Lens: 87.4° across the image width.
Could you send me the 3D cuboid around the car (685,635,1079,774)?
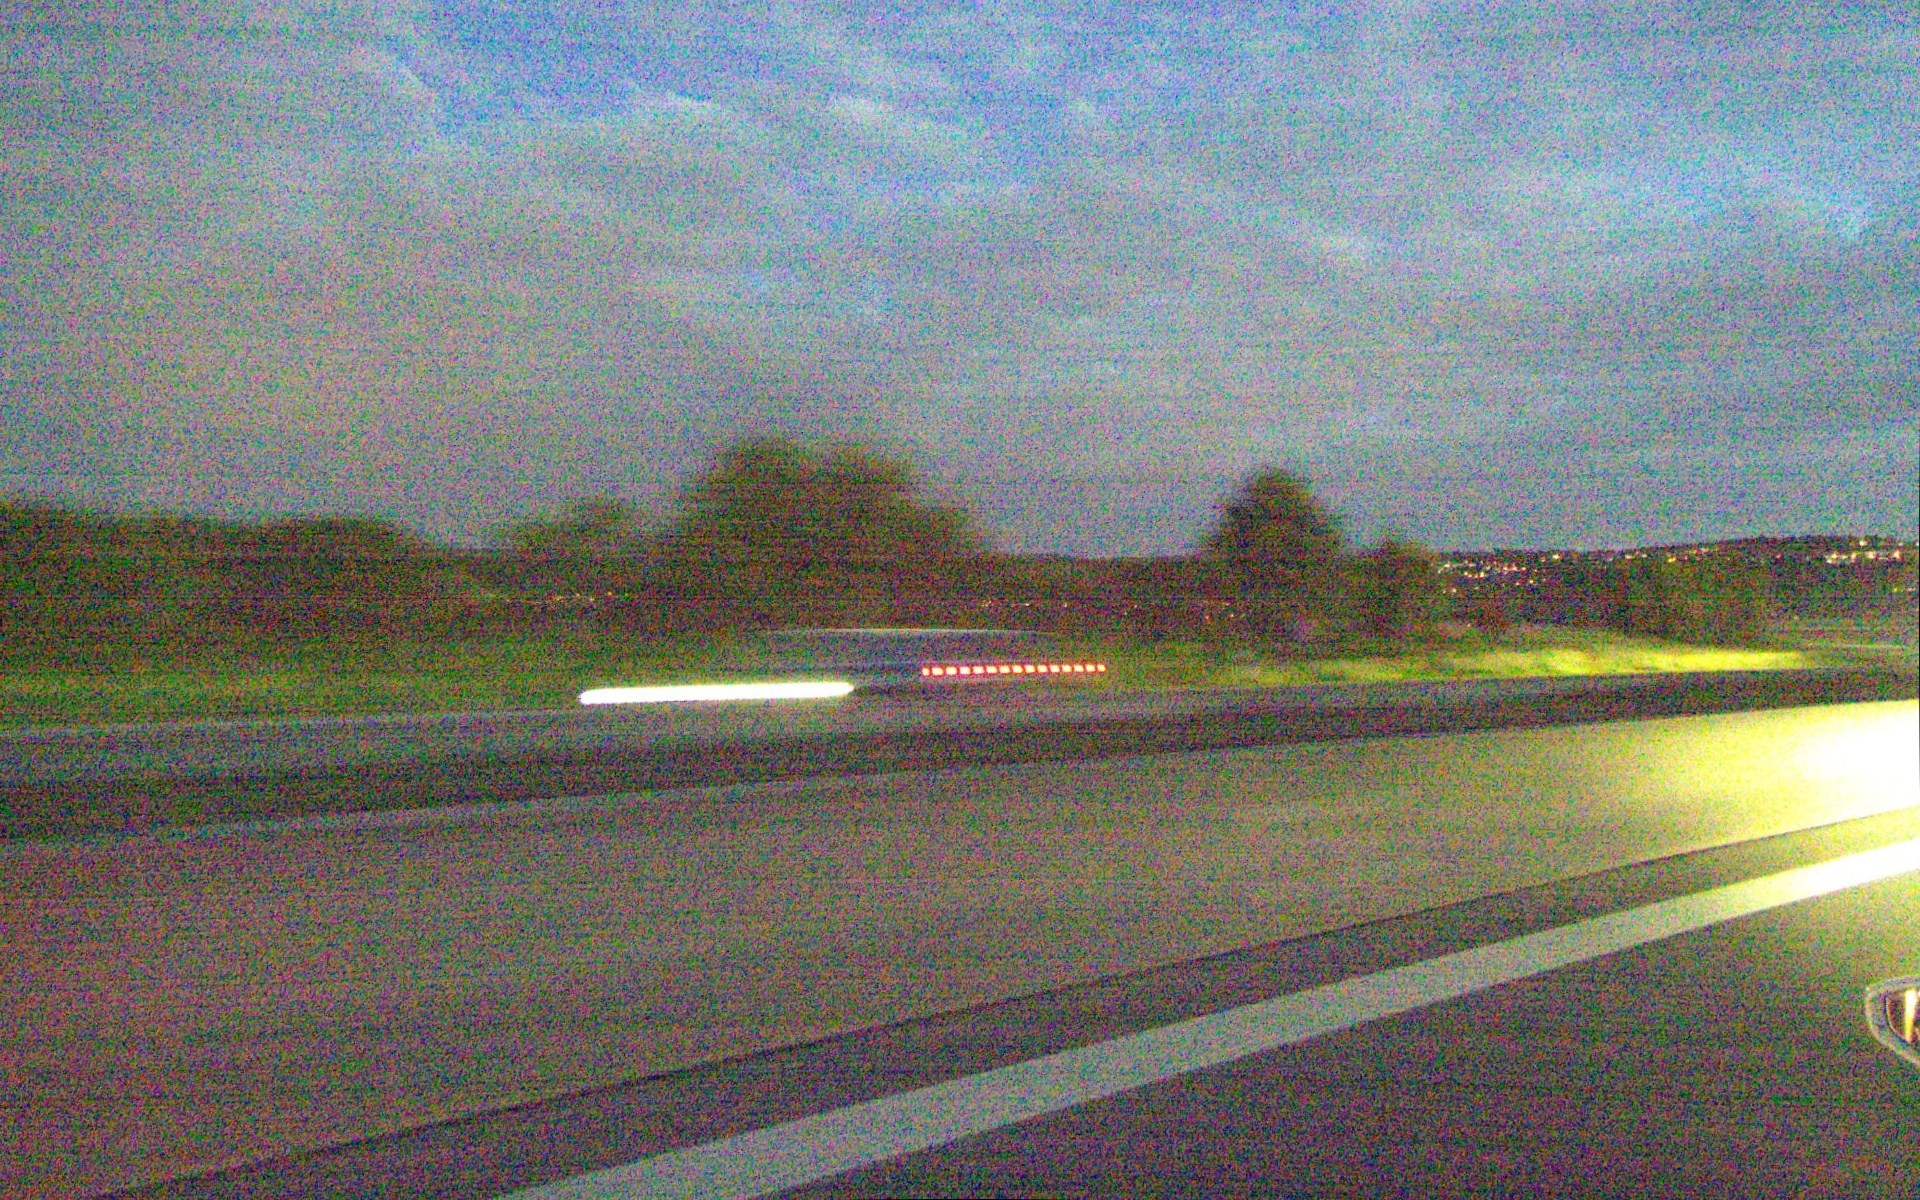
[{"bbox_3d":[-1.005,1.325,14.115,5.234,1.664,1.895,1,-2,-29],"label":"car"}]
